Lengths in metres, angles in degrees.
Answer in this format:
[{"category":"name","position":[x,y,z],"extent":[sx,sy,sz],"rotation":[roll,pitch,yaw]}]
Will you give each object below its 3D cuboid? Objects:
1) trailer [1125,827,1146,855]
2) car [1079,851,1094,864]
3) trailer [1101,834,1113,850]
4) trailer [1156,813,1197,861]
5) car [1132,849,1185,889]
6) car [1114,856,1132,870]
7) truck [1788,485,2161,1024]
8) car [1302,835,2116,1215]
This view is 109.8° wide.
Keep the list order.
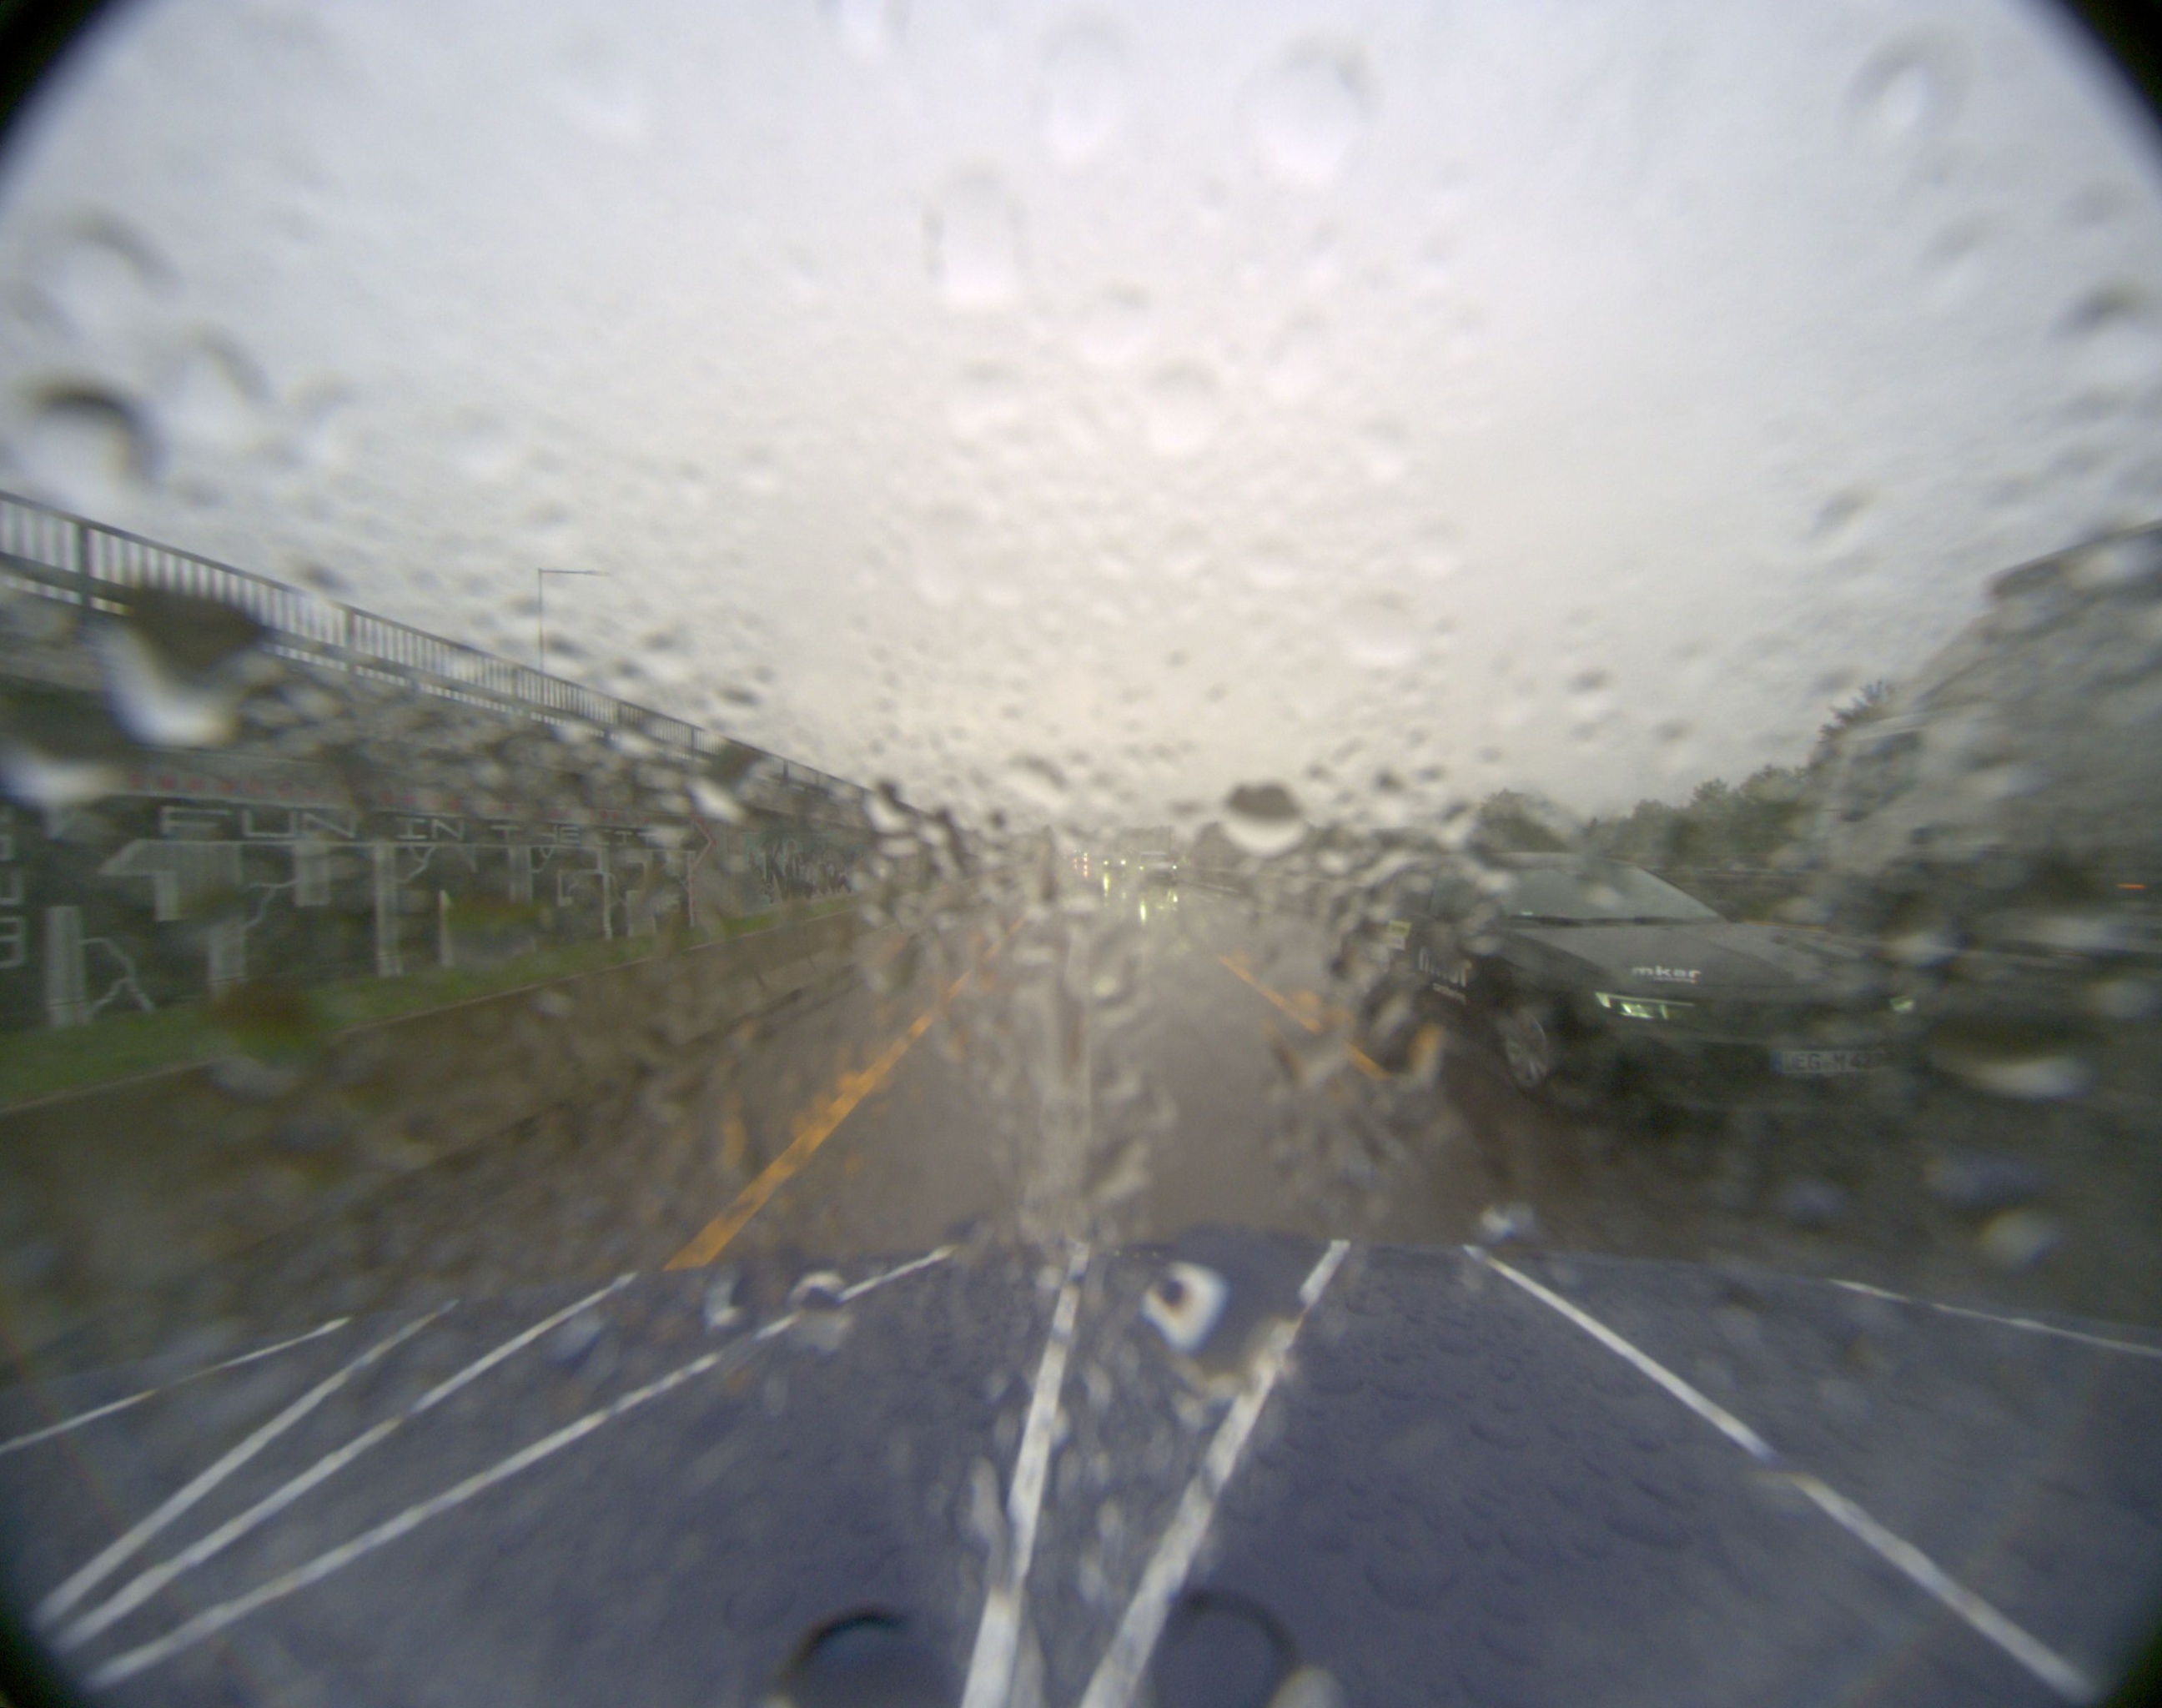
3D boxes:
[{"category":"trailer","position":[9.202,-2.256,129.261],"extent":[2.491,4.418,11.191],"rotation":[-2,1,-1]},{"category":"car","position":[0.752,0.502,109.000],"extent":[1.999,1.762,3.998],"rotation":[-2,1,-1]},{"category":"trailer","position":[7.316,-3.408,214.288],"extent":[2.657,4.086,12.310],"rotation":[-2,1,-1]},{"category":"trailer","position":[9.709,-1.739,78.401],"extent":[2.554,4.563,12.006],"rotation":[-2,1,0]},{"category":"car","position":[3.600,0.658,36.154],"extent":[1.972,1.670,3.998],"rotation":[-2,1,-2]},{"category":"car","position":[3.610,0.763,65.808],"extent":[1.335,1.105,3.198],"rotation":[1,0,-1]},{"category":"truck","position":[9.802,-0.728,3.981],"extent":[3.012,4.142,9.829],"rotation":[0,1,0]},{"category":"car","position":[3.390,0.668,5.626],"extent":[1.944,1.519,4.793],"rotation":[-2,2,-2]}]
